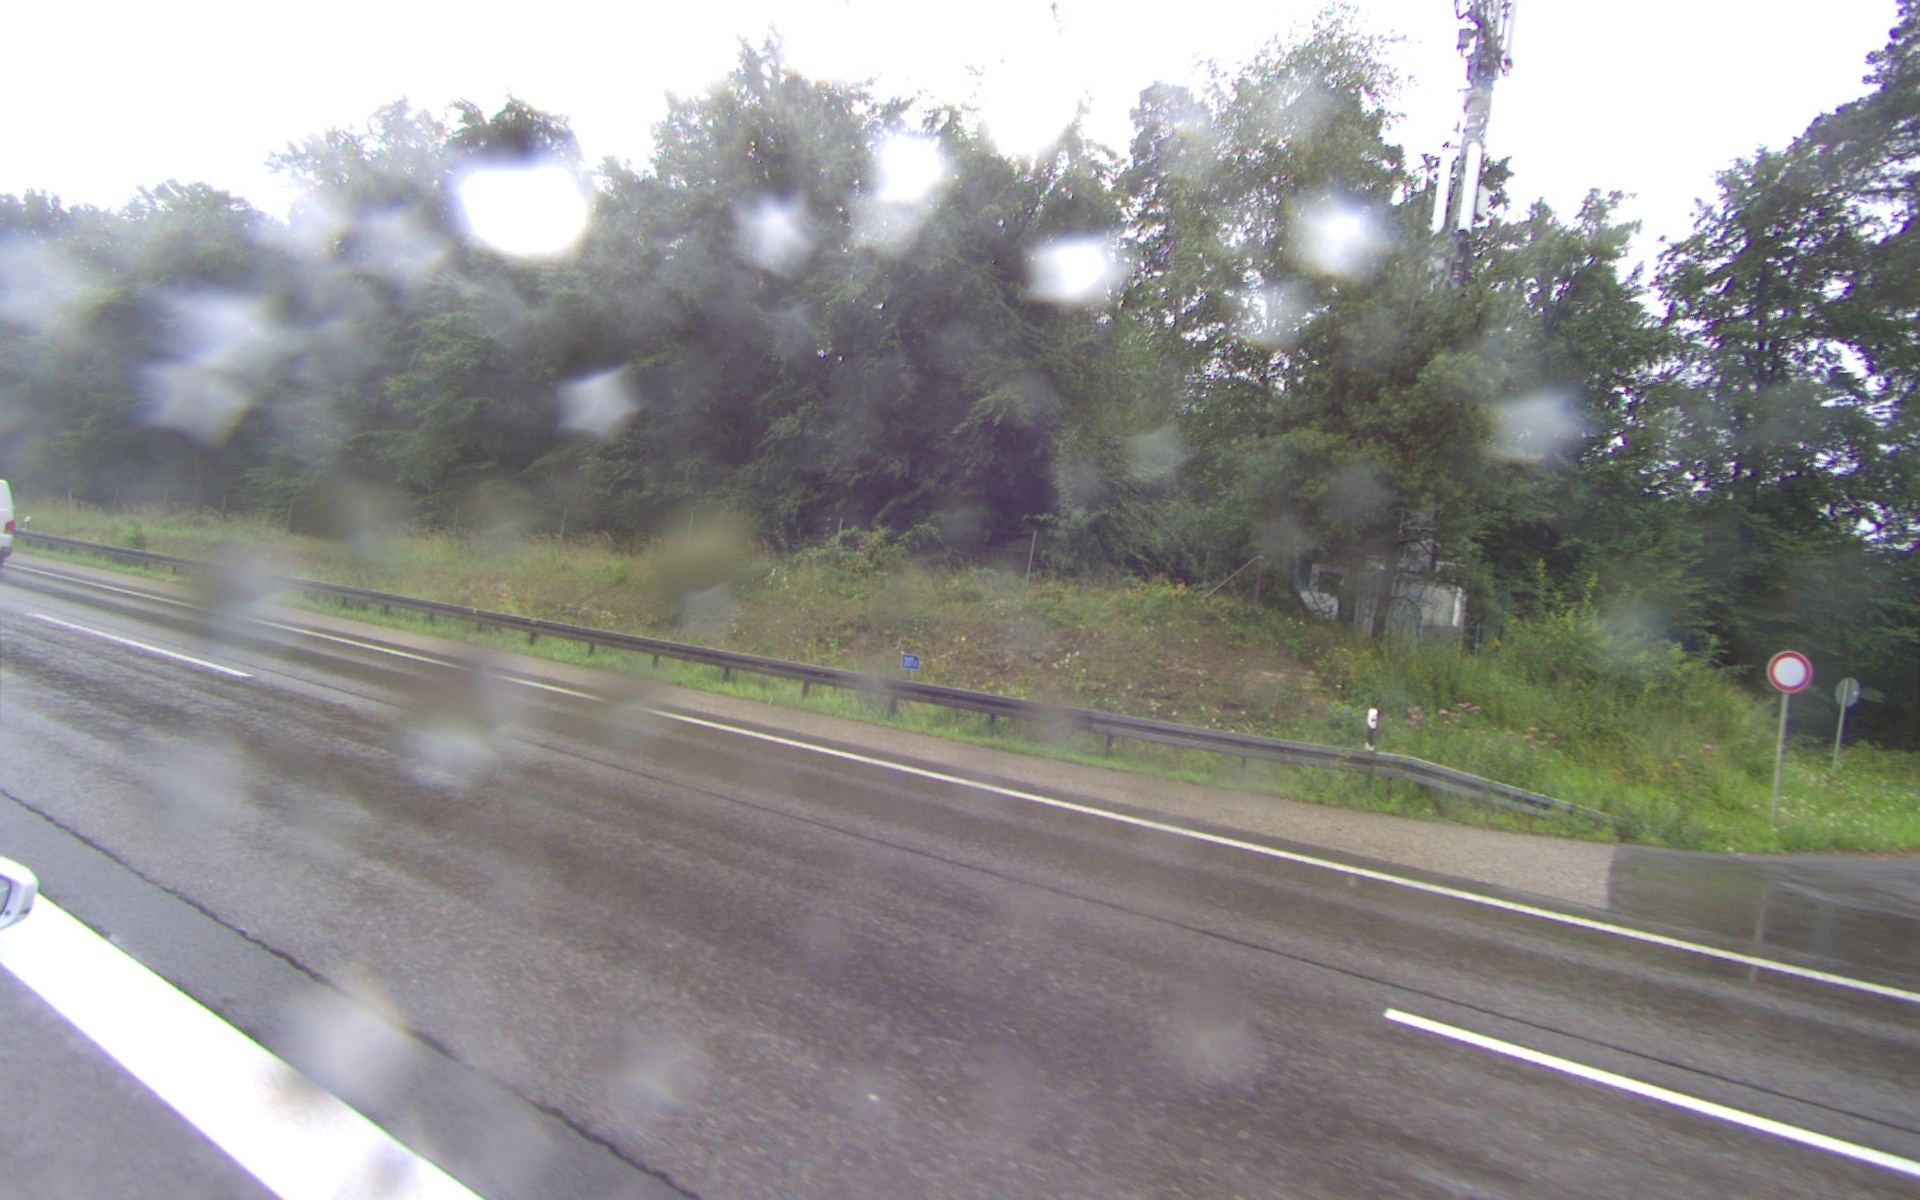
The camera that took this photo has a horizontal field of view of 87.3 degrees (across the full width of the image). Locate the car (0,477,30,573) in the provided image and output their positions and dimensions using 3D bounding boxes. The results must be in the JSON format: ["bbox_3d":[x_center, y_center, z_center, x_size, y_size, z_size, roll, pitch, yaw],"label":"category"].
[{"bbox_3d":[-22.097,-1.864,21.463,4.688,1.943,1.993,7,-1,32],"label":"car"}]
